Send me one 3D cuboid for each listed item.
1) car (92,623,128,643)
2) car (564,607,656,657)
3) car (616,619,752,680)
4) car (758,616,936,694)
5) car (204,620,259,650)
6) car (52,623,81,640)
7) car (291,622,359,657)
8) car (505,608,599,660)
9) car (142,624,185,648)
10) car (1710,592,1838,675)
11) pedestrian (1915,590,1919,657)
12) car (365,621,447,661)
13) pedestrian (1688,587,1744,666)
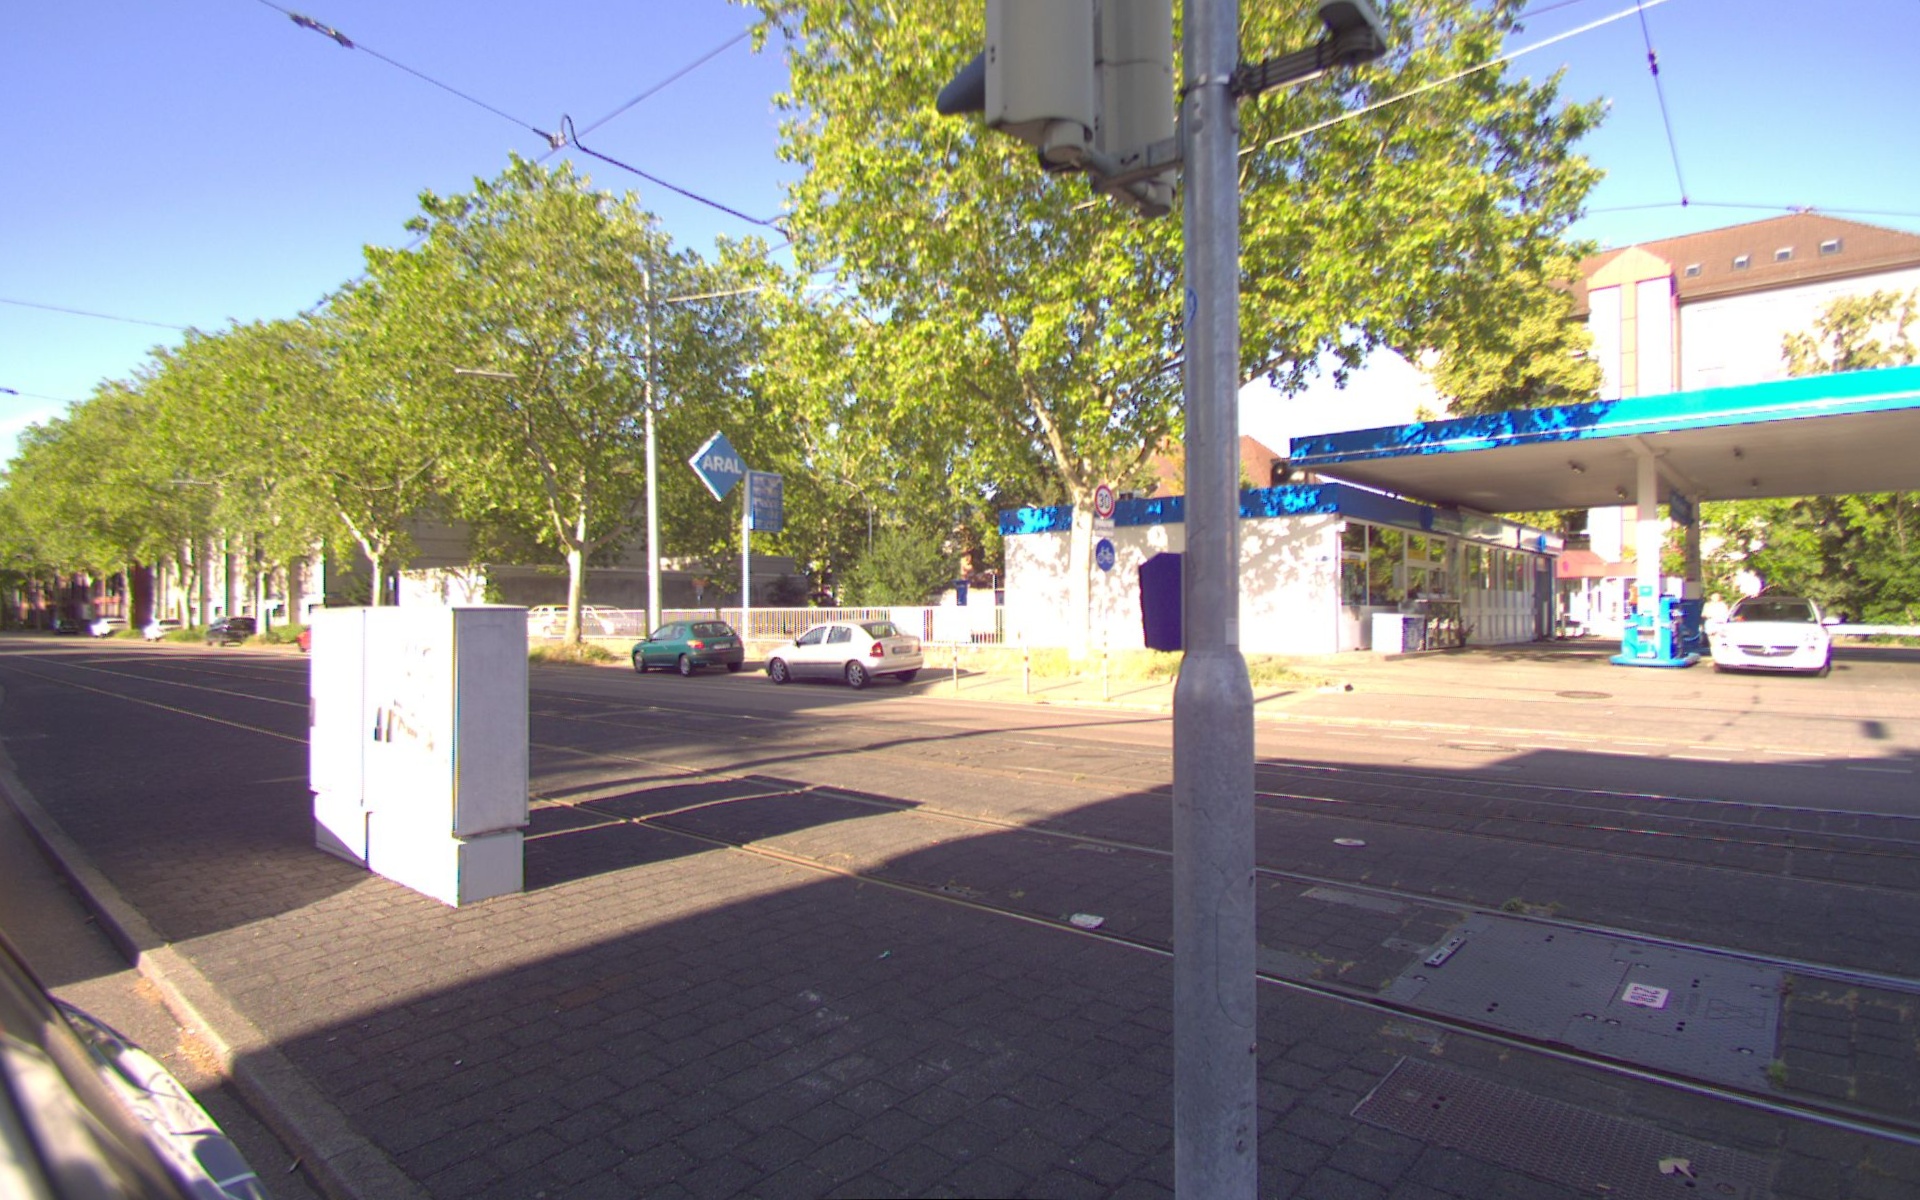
[{"bbox_3d":[-66.929,2.579,79.653,3.858,1.495,1.735,-1,0,43],"label":"car"},{"bbox_3d":[-15.150,1.366,43.699,3.996,2.029,1.974,-1,-1,39],"label":"car"},{"bbox_3d":[-7.438,1.275,27.084,3.858,1.408,1.722,-1,1,43],"label":"car"},{"bbox_3d":[-2.579,1.168,22.604,3.857,1.497,1.823,-1,1,42],"label":"car"},{"bbox_3d":[-40.679,1.955,56.495,3.858,1.557,1.735,-1,0,43],"label":"car"},{"bbox_3d":[-84.874,3.011,96.128,3.858,1.495,1.735,-1,0,43],"label":"car"},{"bbox_3d":[-28.916,1.774,46.054,3.858,1.440,1.695,-1,0,43],"label":"car"},{"bbox_3d":[-17.049,1.396,42.271,3.996,2.029,1.974,-1,-1,39],"label":"car"},{"bbox_3d":[-53.641,2.398,68.132,3.858,1.495,1.735,-1,0,43],"label":"car"},{"bbox_3d":[15.935,0.618,19.789,1.793,1.453,3.946,-1,-1,40],"label":"car"},{"bbox_3d":[26.382,0.627,27.037,0.887,1.815,0.907,-1,-1,15],"label":"pedestrian"},{"bbox_3d":[-21.989,1.588,40.100,3.858,1.468,1.735,-1,0,43],"label":"car"},{"bbox_3d":[16.160,0.558,21.636,0.637,1.642,0.814,1,-2,-42],"label":"pedestrian"}]
